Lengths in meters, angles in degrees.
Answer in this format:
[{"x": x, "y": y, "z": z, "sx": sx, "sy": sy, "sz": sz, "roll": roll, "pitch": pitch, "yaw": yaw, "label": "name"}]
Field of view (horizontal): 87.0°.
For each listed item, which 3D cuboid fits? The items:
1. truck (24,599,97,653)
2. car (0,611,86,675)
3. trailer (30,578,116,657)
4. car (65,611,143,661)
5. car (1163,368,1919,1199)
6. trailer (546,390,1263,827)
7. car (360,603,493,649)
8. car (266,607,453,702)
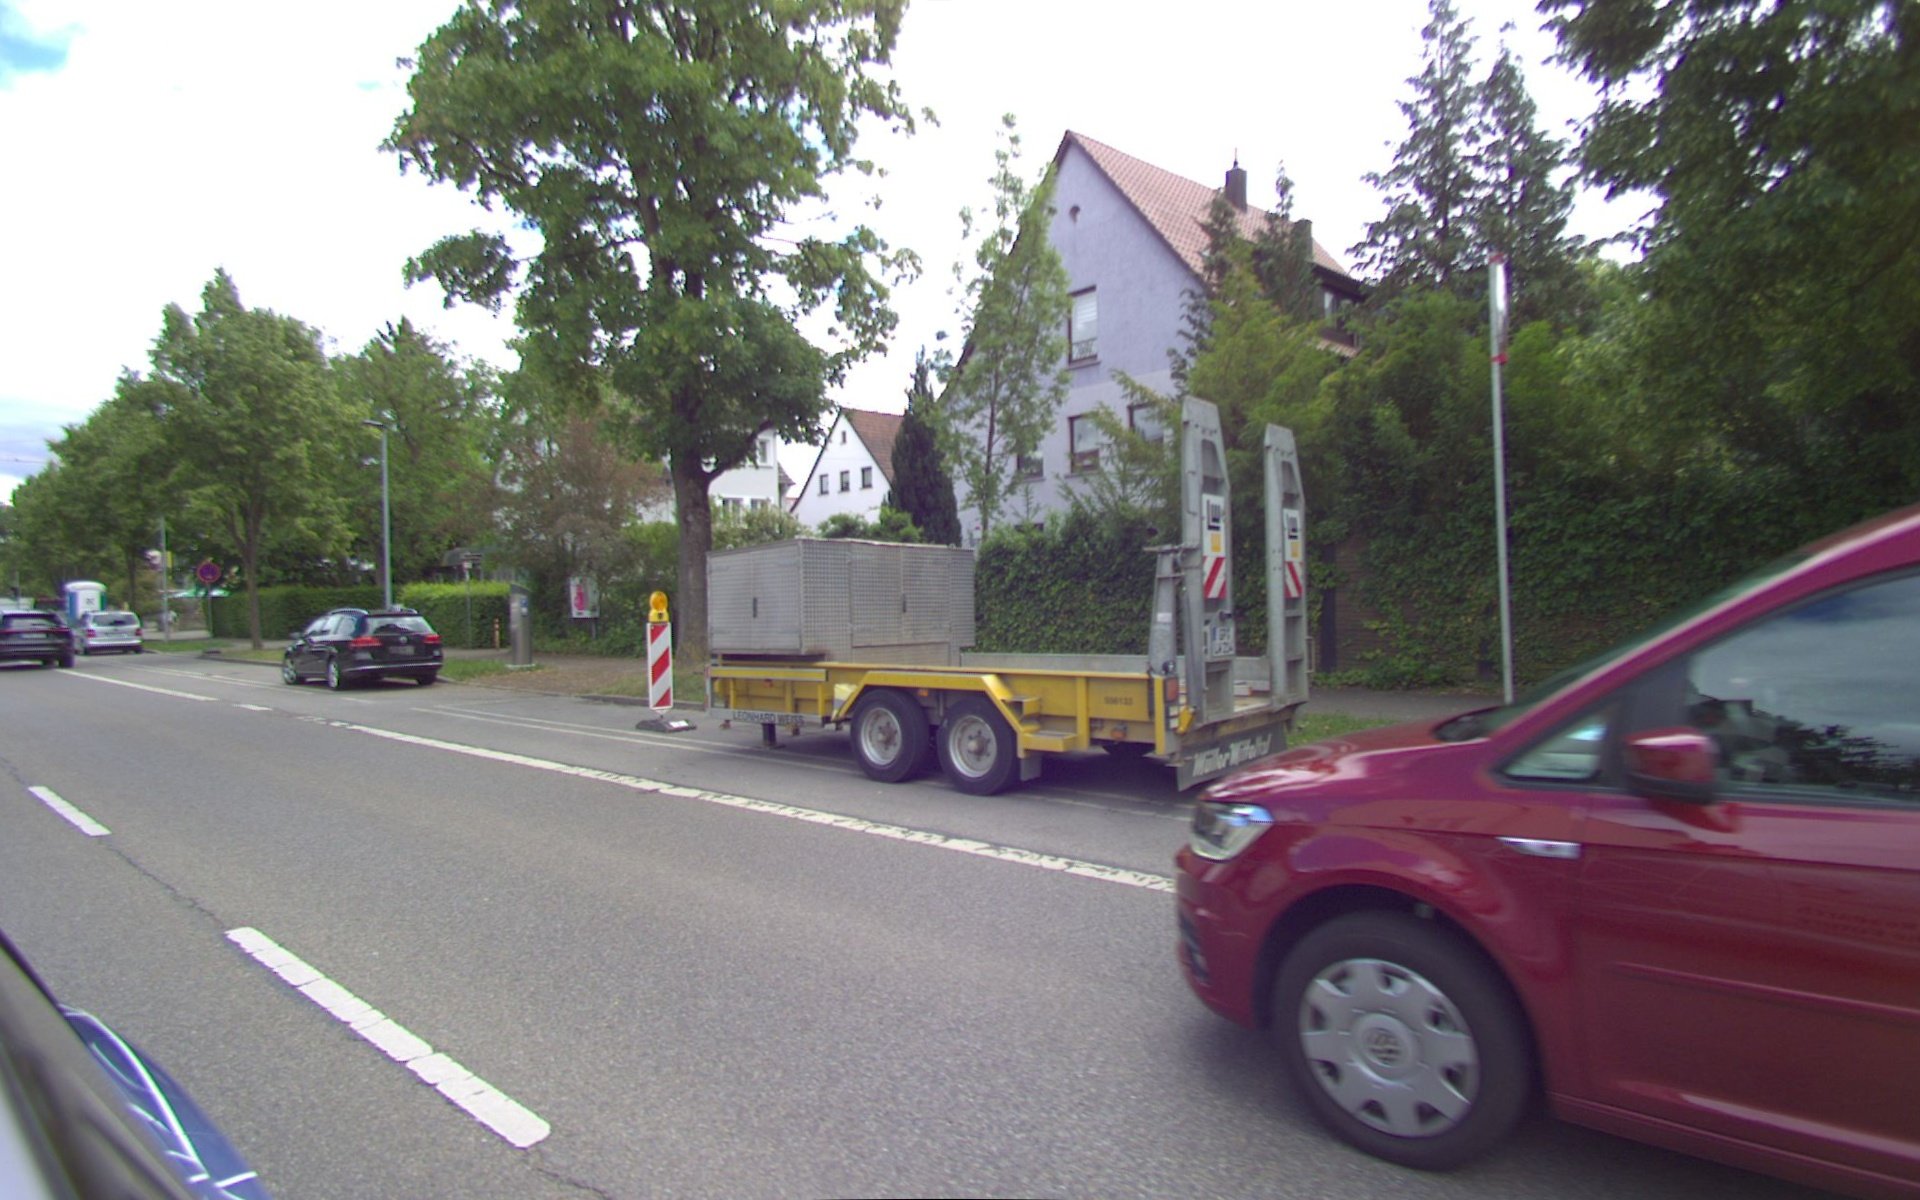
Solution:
[{"x": -41.563, "y": 1.171, "z": 46.692, "sx": 2.268, "sy": 2.304, "sz": 6.468, "roll": 0, "pitch": -1, "yaw": -44, "label": "truck"}, {"x": -26.497, "y": 1.175, "z": 28.764, "sx": 4.588, "sy": 1.680, "sz": 1.972, "roll": -1, "pitch": -2, "yaw": 42, "label": "car"}, {"x": -36.823, "y": 0.711, "z": 41.924, "sx": 2.344, "sy": 2.985, "sz": 7.015, "roll": 0, "pitch": -1, "yaw": -44, "label": "trailer"}, {"x": -31.818, "y": 1.287, "z": 37.575, "sx": 4.224, "sy": 1.696, "sz": 1.671, "roll": 0, "pitch": 1, "yaw": 42, "label": "car"}, {"x": 2.955, "y": 0.462, "z": 1.993, "sx": 4.766, "sy": 1.817, "sz": 1.742, "roll": -1, "pitch": 0, "yaw": 41, "label": "car"}, {"x": -1.048, "y": 0.049, "z": 10.290, "sx": 7.469, "sy": 2.963, "sz": 2.647, "roll": 0, "pitch": 1, "yaw": 40, "label": "trailer"}, {"x": -19.691, "y": 0.937, "z": 37.449, "sx": 4.030, "sy": 1.443, "sz": 1.803, "roll": -3, "pitch": 1, "yaw": -41, "label": "car"}, {"x": -12.040, "y": 0.985, "z": 20.172, "sx": 4.618, "sy": 1.564, "sz": 1.841, "roll": 1, "pitch": 2, "yaw": 41, "label": "car"}]
